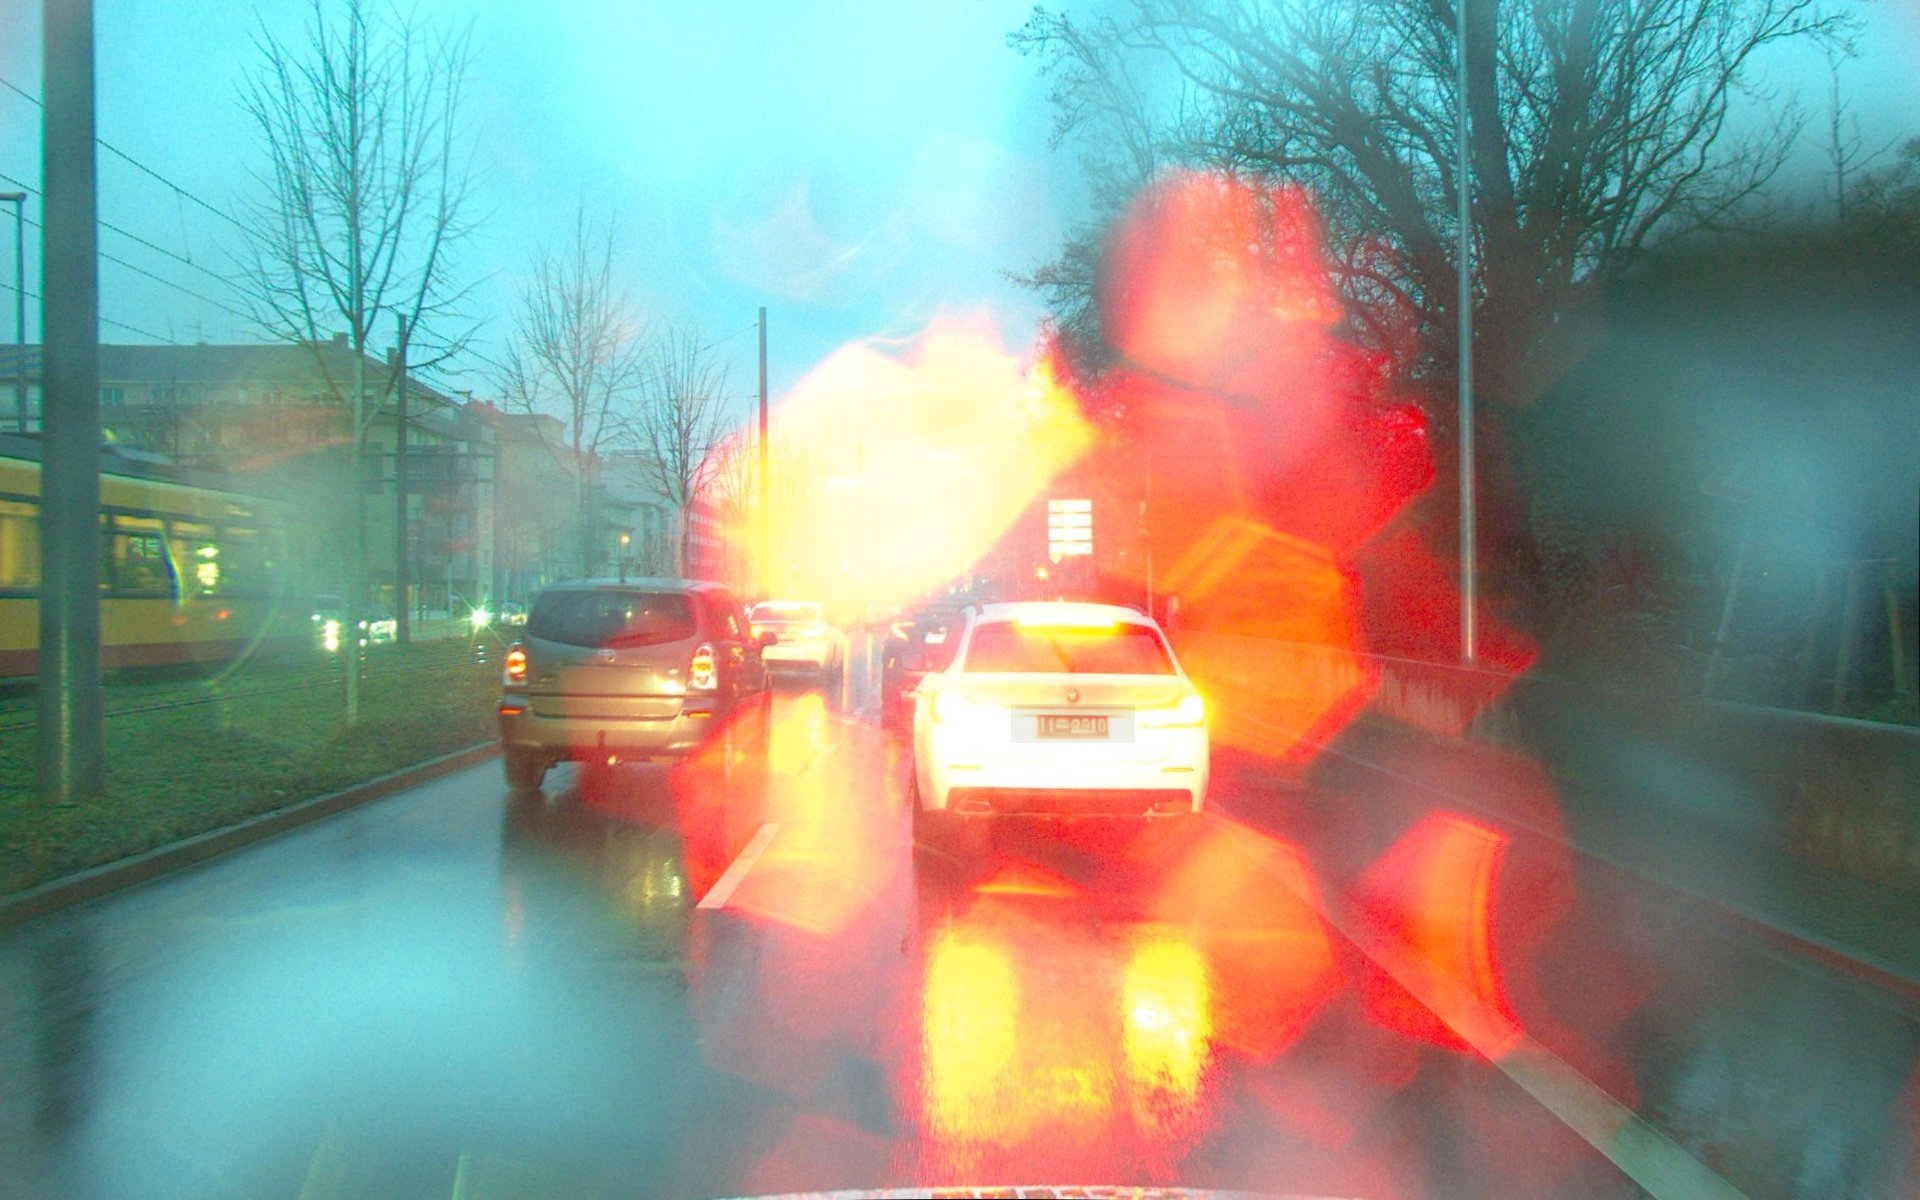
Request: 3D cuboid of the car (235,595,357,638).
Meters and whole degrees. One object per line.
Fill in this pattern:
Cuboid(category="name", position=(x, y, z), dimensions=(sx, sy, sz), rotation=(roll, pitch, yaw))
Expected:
Cuboid(category="car", position=(-32.026, 0.775, 79.854), dimensions=(1.966, 1.945, 5.128), rotation=(-1, 0, 44))

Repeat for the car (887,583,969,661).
Cuboid(category="car", position=(-0.700, 0.469, 37.962), dimensions=(1.770, 1.674, 4.000), rotation=(1, 0, 0))

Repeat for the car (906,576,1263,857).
Cuboid(category="car", position=(0.681, 0.638, 11.197), dimensions=(1.958, 1.534, 4.163), rotation=(0, 0, 0))

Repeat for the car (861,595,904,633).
Cuboid(category="car", position=(-3.531, 0.604, 75.532), dimensions=(1.770, 1.674, 4.000), rotation=(1, 0, 0))

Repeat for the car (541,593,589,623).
Cuboid(category="car", position=(-23.431, 0.466, 98.295), dimensions=(1.858, 1.749, 5.115), rotation=(0, 0, -3))

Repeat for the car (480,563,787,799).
Cuboid(category="car", position=(-2.552, 0.575, 13.868), dimensions=(1.770, 1.674, 4.000), rotation=(1, 0, 0))

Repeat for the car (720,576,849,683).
Cuboid(category="car", position=(-3.126, 0.509, 30.244), dimensions=(1.953, 1.785, 3.999), rotation=(1, 0, -1))

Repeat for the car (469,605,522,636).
Cuboid(category="car", position=(-23.428, 1.010, 83.505), dimensions=(1.859, 1.456, 3.703), rotation=(0, 0, -4))

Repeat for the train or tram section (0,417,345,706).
Cuboid(category="train or tram section", position=(-13.276, -0.475, 24.874), dimensions=(2.897, 3.548, 14.263), rotation=(-1, 0, -1))

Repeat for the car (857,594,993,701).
Cuboid(category="car", position=(-0.493, 0.654, 25.244), dimensions=(1.896, 1.483, 4.163), rotation=(0, 0, 0))

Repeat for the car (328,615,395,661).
Cuboid(category="car", position=(-26.186, 1.644, 72.425), dimensions=(1.688, 1.918, 3.923), rotation=(0, 0, -3))
